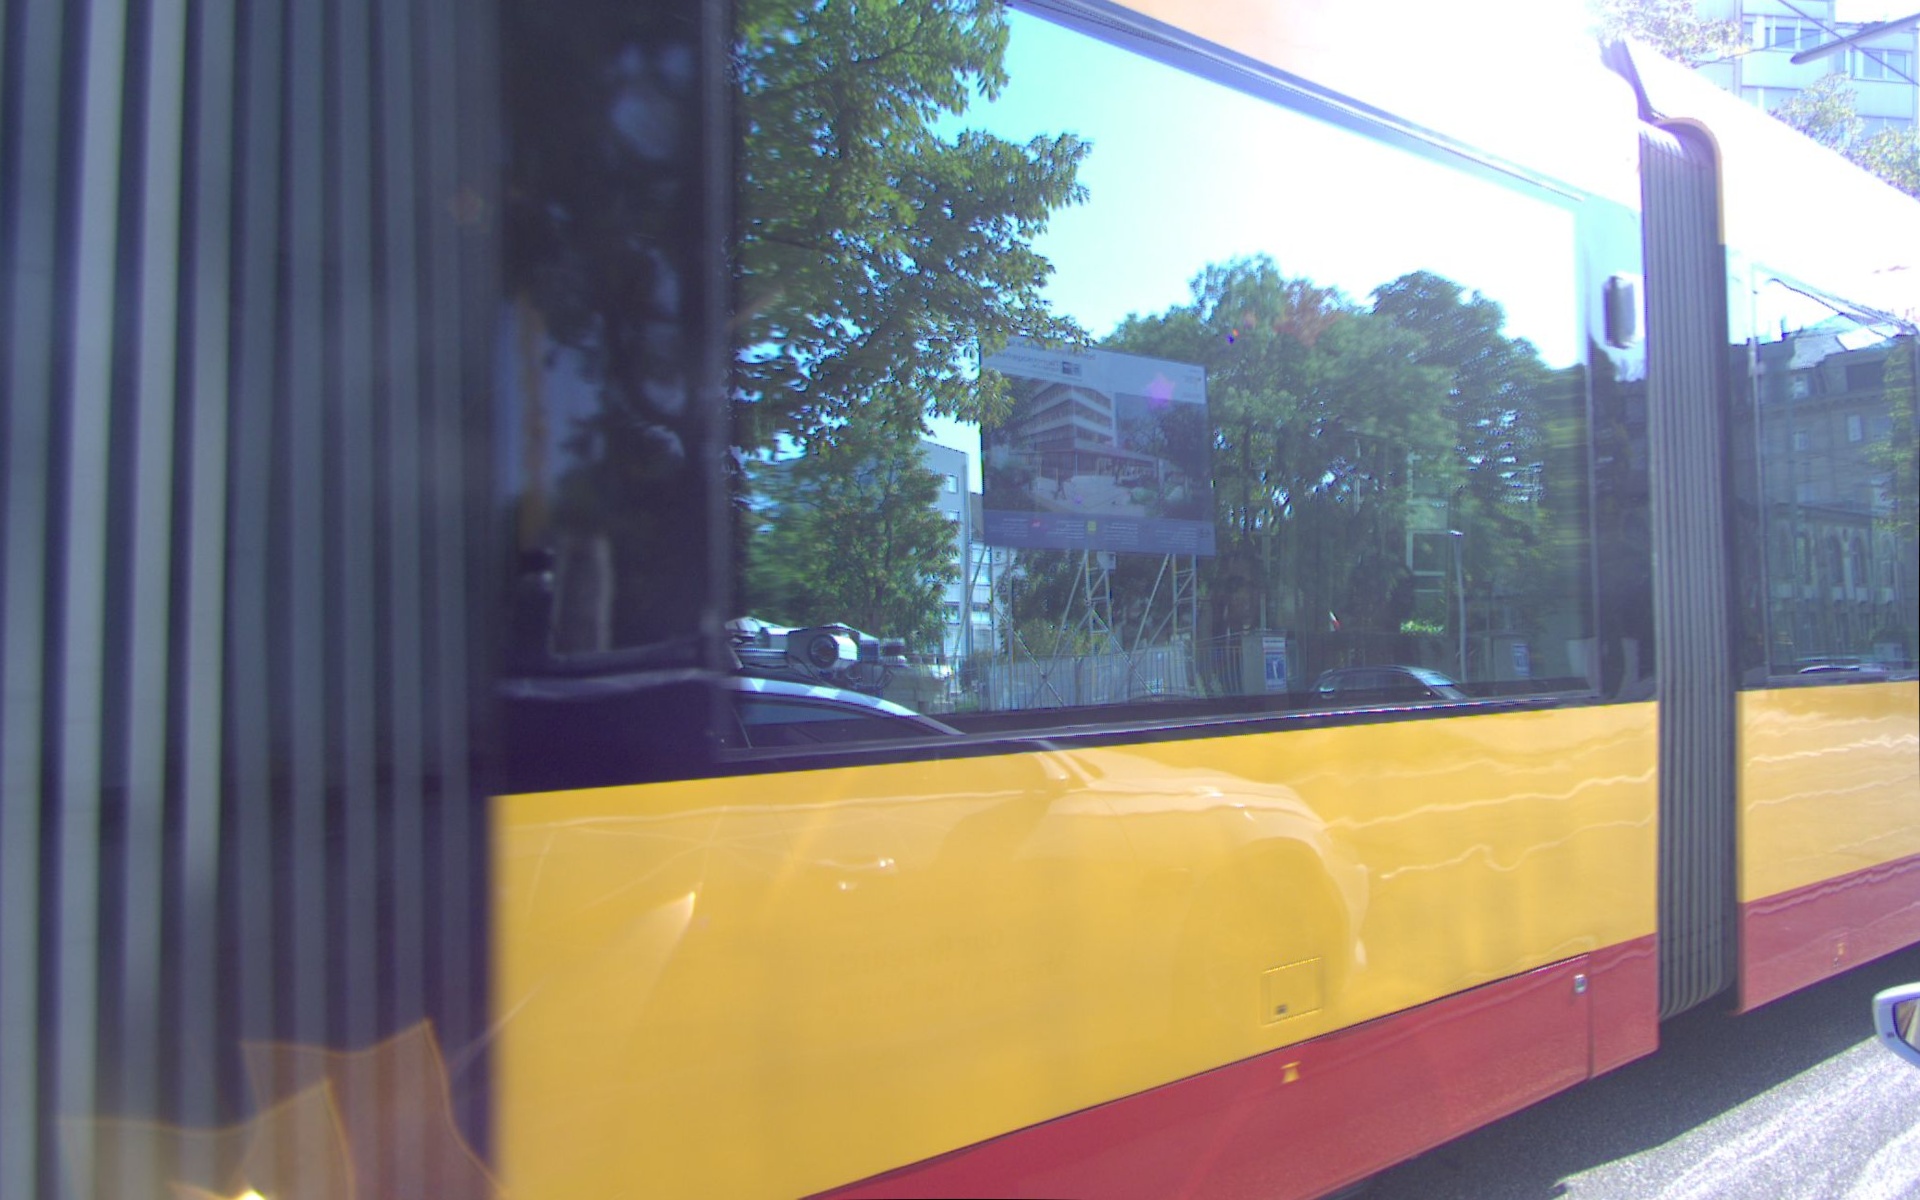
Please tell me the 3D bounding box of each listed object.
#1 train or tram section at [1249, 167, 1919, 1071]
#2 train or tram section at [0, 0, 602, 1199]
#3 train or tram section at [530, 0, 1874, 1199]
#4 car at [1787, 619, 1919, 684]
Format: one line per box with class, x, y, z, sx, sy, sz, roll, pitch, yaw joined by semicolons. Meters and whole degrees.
train or tram section;6.747;0.152;7.045;10.420;2.900;2.667;1;-1;-31
train or tram section;-3.890;-0.057;0.754;6.466;2.887;2.716;1;-1;-30
train or tram section;0.655;0.035;3.422;3.606;2.894;2.693;1;-1;-30
car;22.079;1.201;23.673;3.687;1.462;1.571;1;0;10
